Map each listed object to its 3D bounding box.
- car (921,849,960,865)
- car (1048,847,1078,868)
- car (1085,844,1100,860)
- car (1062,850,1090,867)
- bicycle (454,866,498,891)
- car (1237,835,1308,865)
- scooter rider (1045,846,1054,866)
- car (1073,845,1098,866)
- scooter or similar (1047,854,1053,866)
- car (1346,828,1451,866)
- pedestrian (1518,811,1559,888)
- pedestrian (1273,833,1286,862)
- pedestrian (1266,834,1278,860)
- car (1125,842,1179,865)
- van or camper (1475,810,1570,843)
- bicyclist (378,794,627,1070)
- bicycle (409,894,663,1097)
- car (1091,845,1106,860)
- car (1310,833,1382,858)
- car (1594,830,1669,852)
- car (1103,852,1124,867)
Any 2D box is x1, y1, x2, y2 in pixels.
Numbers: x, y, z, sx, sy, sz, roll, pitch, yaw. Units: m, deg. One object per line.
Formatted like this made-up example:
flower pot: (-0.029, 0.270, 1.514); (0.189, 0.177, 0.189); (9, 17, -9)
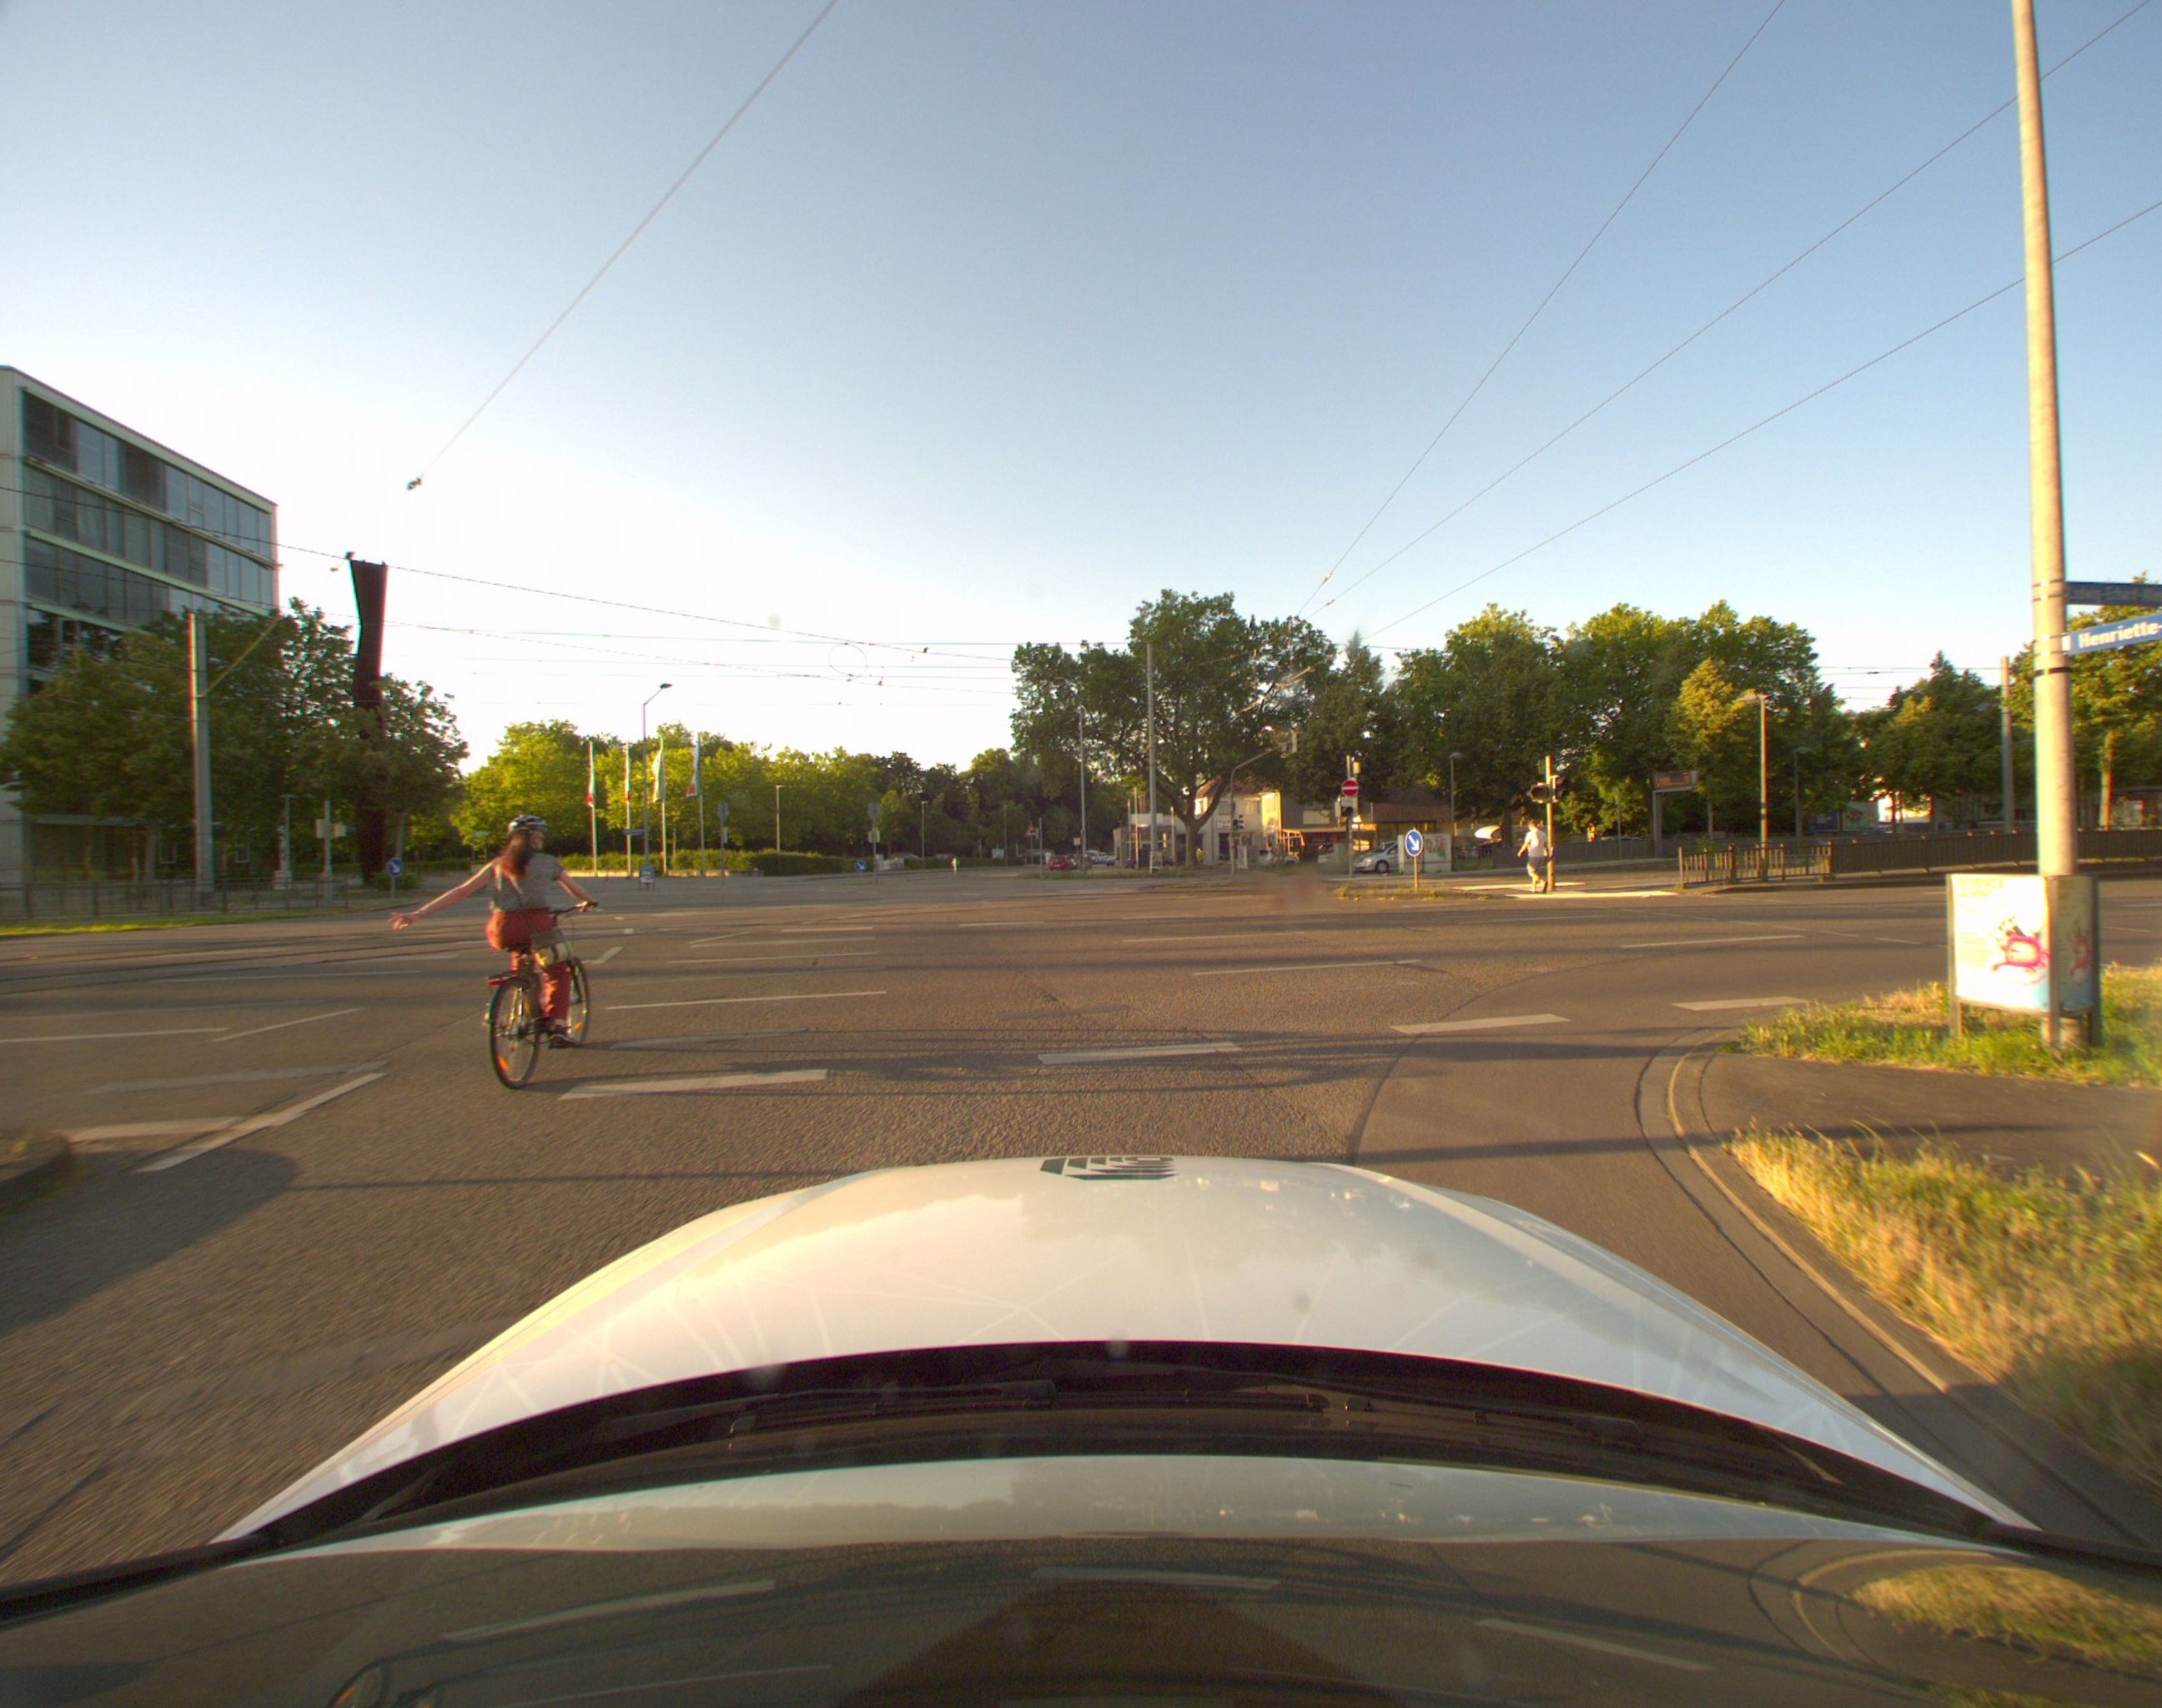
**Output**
car: (-15.239, 0.327, 88.545); (3.983, 1.561, 1.996); (-2, 0, -7)
car: (-1.672, 0.331, 76.635); (1.855, 1.874, 3.889); (-1, 0, 13)
car: (1.571, -0.280, 112.841); (1.988, 2.013, 3.999); (-2, 0, -1)
car: (-0.462, 0.415, 80.600); (1.980, 1.574, 4.013); (-1, 0, 12)
bicycle: (-29.526, 1.186, 39.782); (0.699, 1.136, 2.384); (-2, 0, -11)
car: (12.969, -0.280, 55.340); (4.224, 1.846, 1.996); (-2, 0, -6)
scooter rider: (-3.058, 0.189, 79.386); (0.702, 1.855, 0.667); (-1, -1, -8)
car: (0.462, 0.122, 84.586); (1.903, 2.047, 4.011); (-1, 0, 10)
scooter or similar: (-3.029, 0.599, 79.355); (0.510, 1.090, 1.239); (-2, 0, -8)
car: (15.570, -0.342, 40.046); (4.538, 1.728, 1.854); (-2, 0, -12)
pedestrian: (10.822, -0.106, 19.292); (0.755, 1.791, 0.806); (0, 0, 22)
pedestrian: (12.506, -0.404, 51.332); (0.713, 1.754, 0.901); (-2, 0, 16)
pedestrian: (12.301, -0.436, 52.449); (0.713, 1.639, 0.901); (-2, 0, 16)
car: (6.168, -0.087, 70.961); (4.367, 1.835, 1.947); (-2, 0, -3)
van or camper: (35.739, -2.180, 66.065); (6.550, 2.410, 2.261); (-2, -1, -4)
bicyclist: (-3.951, 0.482, 5.687); (1.031, 1.717, 0.993); (-2, 0, -8)
bicycle: (-3.774, 0.887, 5.898); (0.634, 1.068, 2.116); (-2, 0, -8)
car: (2.552, -0.270, 117.598); (1.988, 2.013, 3.999); (-2, 0, -1)
car: (18.051, -0.590, 55.613); (4.224, 1.577, 1.996); (-2, 0, -6)
car: (40.188, -0.919, 59.519); (4.224, 1.464, 1.996); (-1, 0, -6)
car: (3.861, 0.656, 96.753); (1.903, 1.602, 4.011); (-1, 0, 10)
